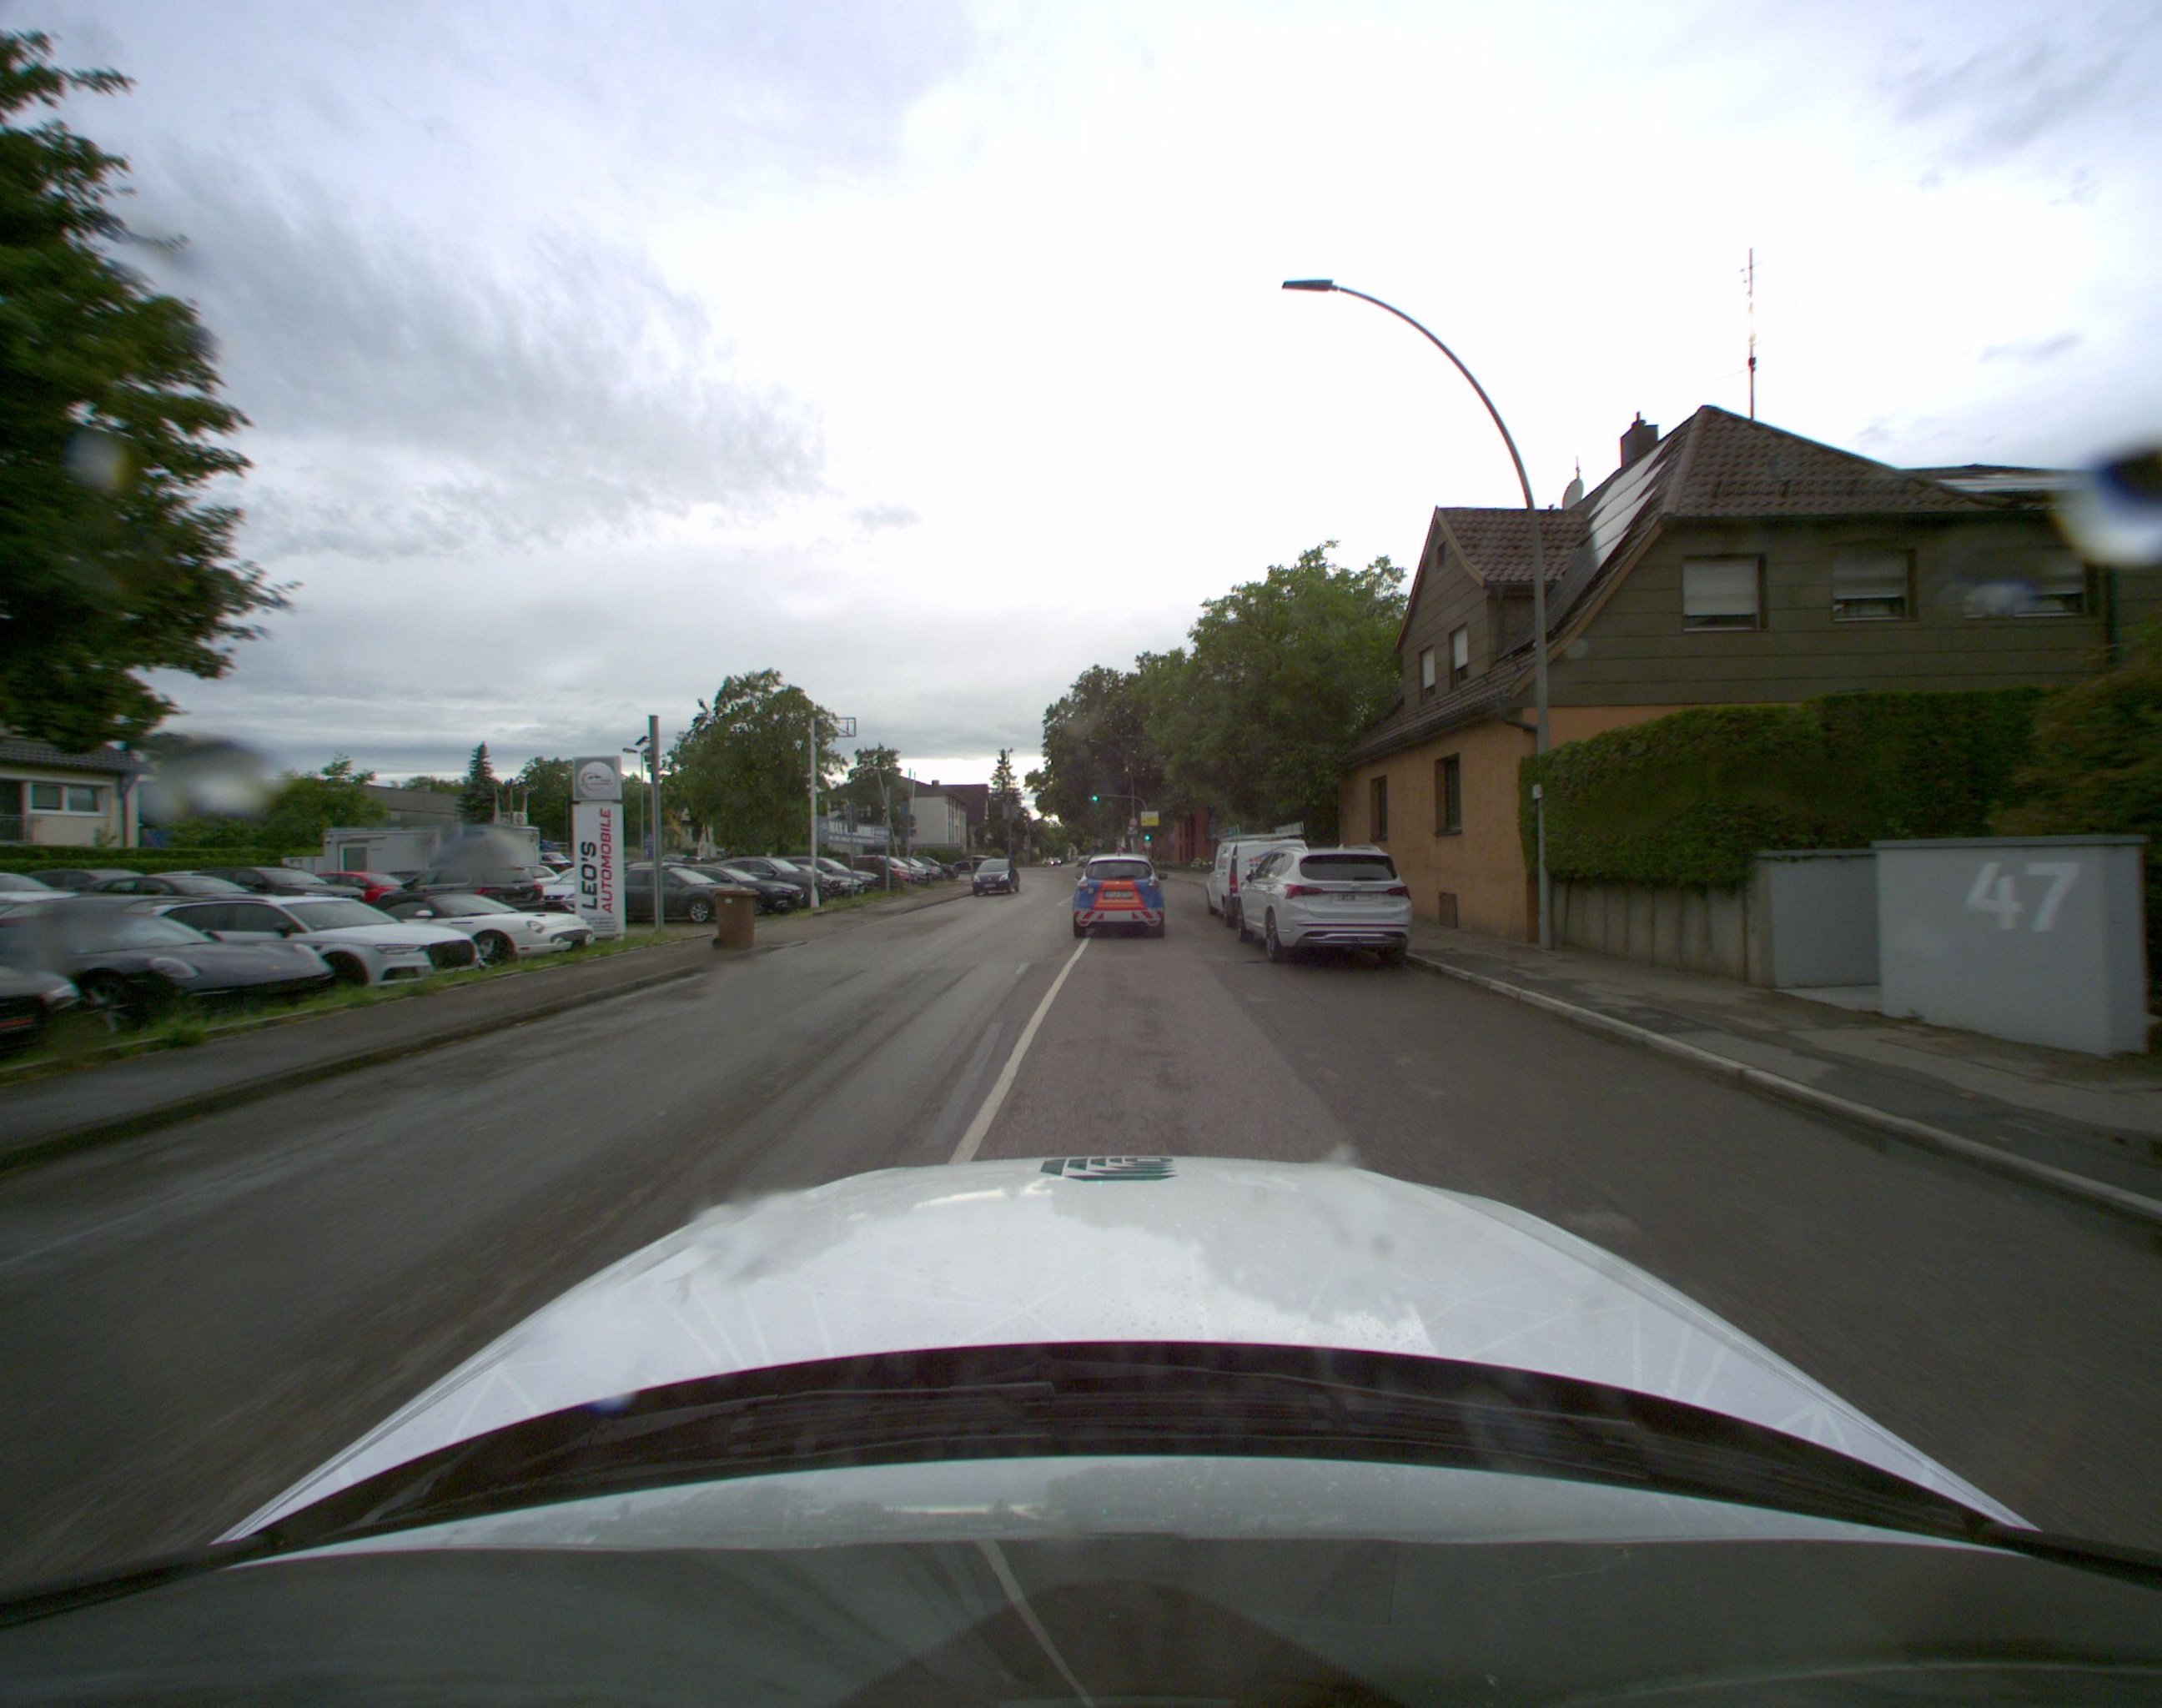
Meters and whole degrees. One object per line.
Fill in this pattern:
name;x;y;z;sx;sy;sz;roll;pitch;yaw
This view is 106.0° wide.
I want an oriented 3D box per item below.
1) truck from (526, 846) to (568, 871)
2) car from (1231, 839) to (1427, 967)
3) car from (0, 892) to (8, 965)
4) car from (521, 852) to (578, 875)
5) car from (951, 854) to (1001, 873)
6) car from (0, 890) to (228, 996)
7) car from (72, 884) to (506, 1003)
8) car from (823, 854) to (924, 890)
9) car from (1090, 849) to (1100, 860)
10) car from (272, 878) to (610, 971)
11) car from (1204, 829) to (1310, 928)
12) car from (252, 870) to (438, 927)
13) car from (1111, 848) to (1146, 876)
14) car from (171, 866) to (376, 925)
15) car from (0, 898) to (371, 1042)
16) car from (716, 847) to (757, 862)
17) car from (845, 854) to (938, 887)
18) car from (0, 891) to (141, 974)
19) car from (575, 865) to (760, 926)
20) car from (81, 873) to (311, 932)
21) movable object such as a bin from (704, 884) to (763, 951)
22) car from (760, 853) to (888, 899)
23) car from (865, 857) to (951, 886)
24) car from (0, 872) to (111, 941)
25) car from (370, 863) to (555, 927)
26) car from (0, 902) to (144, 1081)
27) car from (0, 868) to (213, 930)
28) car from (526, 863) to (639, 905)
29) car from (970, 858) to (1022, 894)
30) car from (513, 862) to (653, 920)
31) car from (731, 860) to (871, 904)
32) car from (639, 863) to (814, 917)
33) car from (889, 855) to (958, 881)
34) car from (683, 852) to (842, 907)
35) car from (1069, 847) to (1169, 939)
truck;-55.541;0.422;84.631;5.487;2.539;2.013;1;1;39
car;3.668;0.640;12.881;1.859;1.665;4.321;-1;0;1
car;-21.250;1.470;14.343;1.339;1.415;3.210;-1;0;-21
car;-48.642;0.866;74.630;3.967;1.994;2.004;0;1;6
car;-8.631;0.772;66.785;3.949;1.428;1.811;1;1;40
car;-16.191;1.393;13.666;1.339;1.415;3.210;-1;0;-21
car;-11.122;1.218;11.686;4.360;1.374;1.889;-1;0;1
car;-9.186;0.788;36.280;3.969;1.544;1.805;0;0;3
car;2.545;0.105;149.820;1.639;2.017;3.714;-1;1;-1
car;-10.927;1.176;14.130;4.435;1.331;1.772;-1;0;1
car;3.947;0.455;18.971;1.770;2.029;4.759;0;1;4
car;-22.620;1.346;25.146;3.975;1.530;1.837;-1;0;-1
car;2.931;0.475;49.659;1.984;1.574;4.006;0;1;5
car;-22.115;1.099;22.424;3.725;1.438;1.786;-1;0;-3
car;-11.163;1.266;9.240;4.541;1.309;1.889;-1;0;1
car;-40.360;0.023;95.477;1.974;1.723;4.025;1;1;39
car;-9.081;0.786;39.235;3.969;1.544;1.805;0;0;3
car;-18.462;1.344;13.482;1.616;1.258;3.986;-1;0;-10
car;-10.973;1.070;21.814;3.971;1.464;1.840;-1;0;2
car;-21.874;1.173;20.241;3.716;1.272;2.003;-1;0;6
movable object such as a bin;-6.173;1.123;14.504;0.705;1.130;0.735;-1;0;2
car;-10.031;0.831;32.006;4.330;1.690;1.960;-1;0;2
car;-8.845;0.887;41.786;3.969;1.441;1.805;0;0;3
car;-26.854;1.285;20.119;3.719;1.571;1.789;-1;0;2
car;-16.022;1.040;21.128;3.953;1.499;1.947;-1;0;20
car;-11.239;1.230;6.735;4.547;1.418;1.896;-2;0;-3
car;-27.066;1.213;22.716;3.723;1.558;1.787;-1;0;-1
car;-18.982;1.090;31.238;1.685;1.398;4.002;-2;0;2
car;-3.608;0.921;35.284;1.620;1.433;3.687;-1;0;3
car;-15.097;1.071;24.969;1.685;1.530;4.002;-2;0;2
car;-10.088;0.988;29.574;4.330;1.432;1.960;-1;0;2
car;-10.485;1.046;24.323;4.330;1.464;1.942;-1;0;2
car;-9.353;0.819;48.661;3.945;1.530;1.617;0;1;-9
car;-10.391;0.806;26.794;4.330;1.691;2.060;-1;0;2
car;0.731;0.688;16.570;1.739;1.581;4.002;-2;1;1
